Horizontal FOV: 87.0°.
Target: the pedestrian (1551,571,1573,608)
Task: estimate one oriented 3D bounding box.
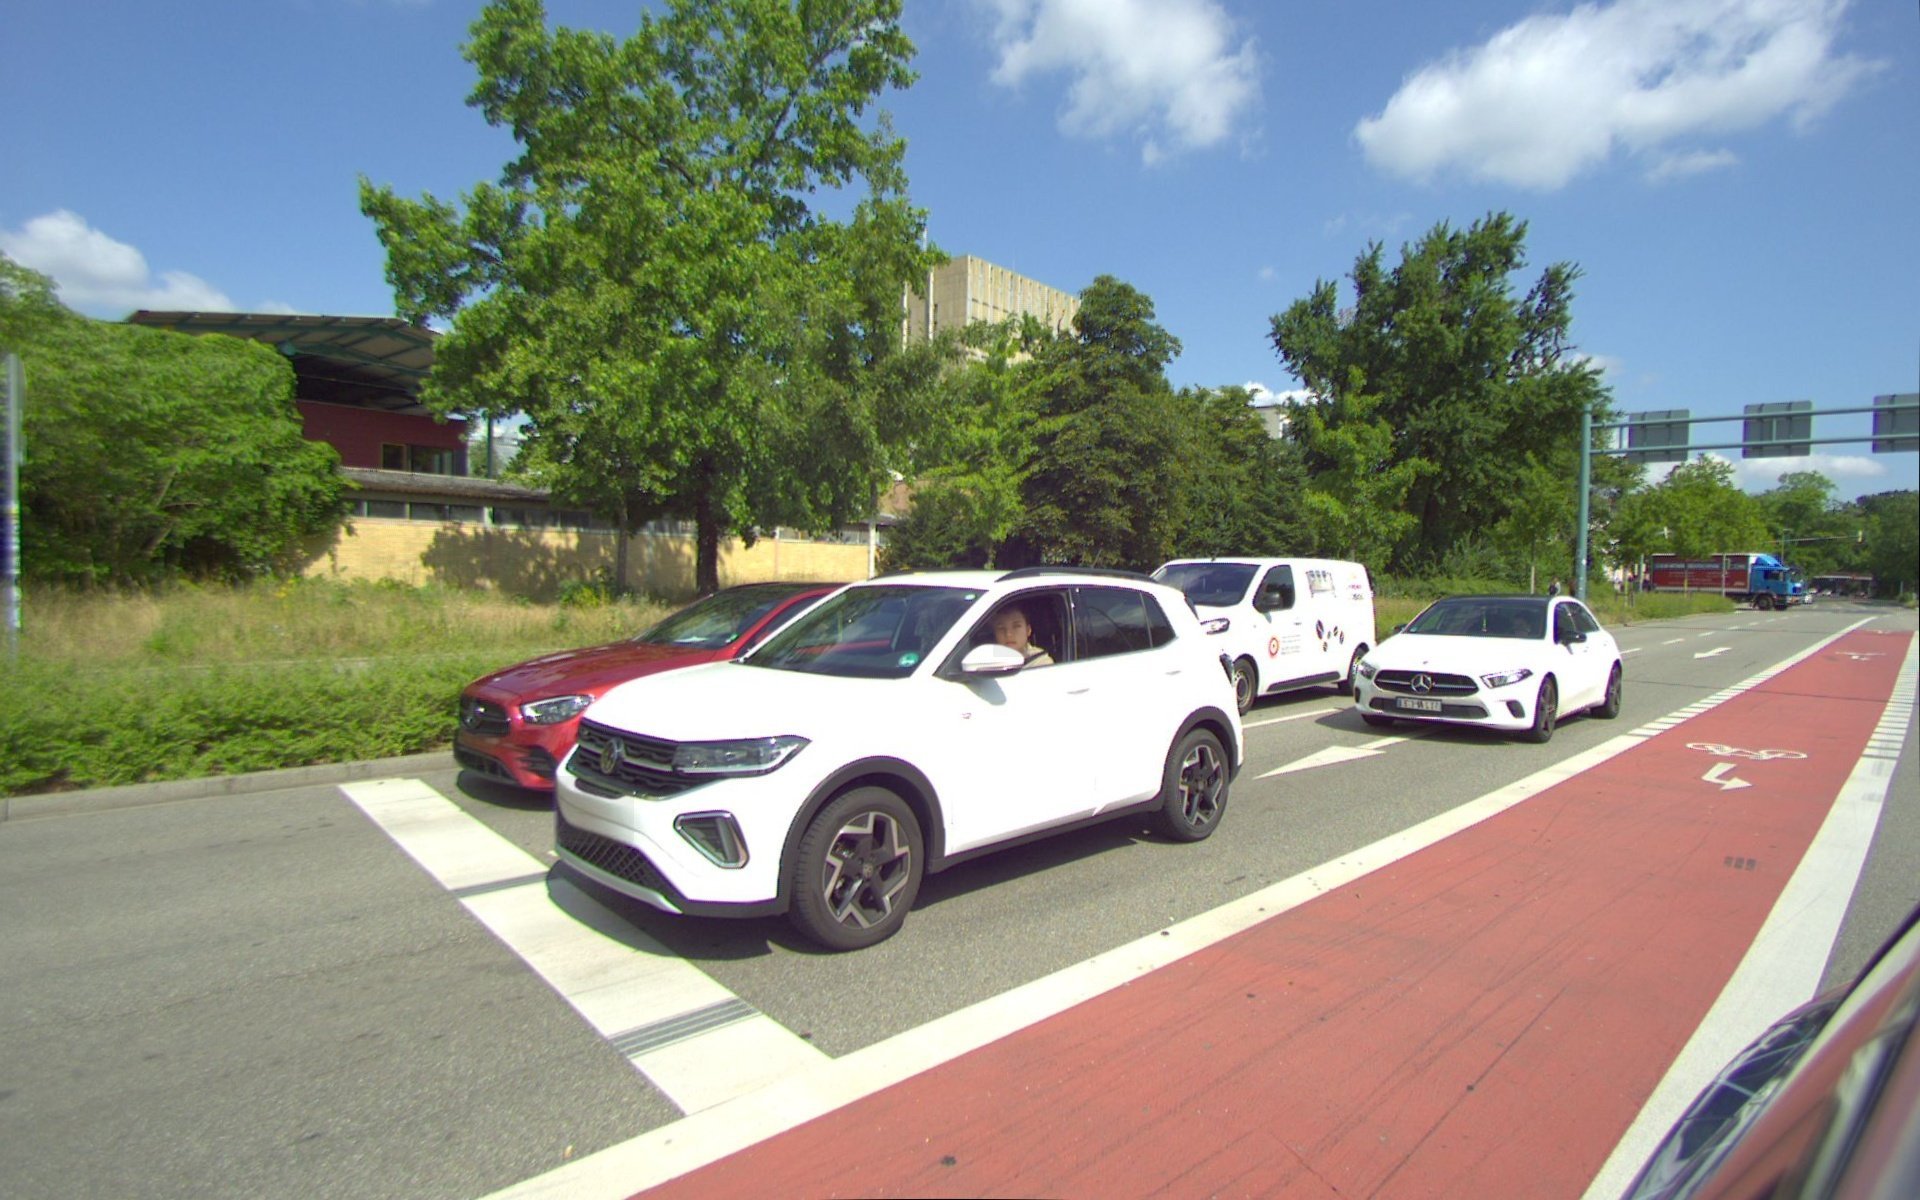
[{"bbox_3d":[26.248,-0.448,44.111,0.623,1.600,0.697,2,2,45],"label":"pedestrian"}]

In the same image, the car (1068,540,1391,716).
[{"bbox_3d":[3.685,0.249,13.279,4.746,1.893,1.944,0,2,-45],"label":"car"}]

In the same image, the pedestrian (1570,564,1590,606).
[{"bbox_3d":[26.752,-0.654,43.677,0.567,1.824,0.628,2,2,45],"label":"pedestrian"}]

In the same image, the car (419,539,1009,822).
[{"bbox_3d":[-1.693,0.429,8.114,1.682,1.661,4.391,2,2,45],"label":"car"}]

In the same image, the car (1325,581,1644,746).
[{"bbox_3d":[5.974,0.539,11.270,4.313,1.441,1.905,-1,2,-45],"label":"car"}]

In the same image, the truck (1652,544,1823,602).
[{"bbox_3d":[54.725,-1.956,71.586,2.613,3.846,9.201,0,2,-30],"label":"truck"}]

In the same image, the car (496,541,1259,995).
[{"bbox_3d":[-0.165,0.549,5.514,3.946,1.559,1.792,-1,1,-45],"label":"car"}]

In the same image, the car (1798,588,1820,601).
[{"bbox_3d":[96.236,-0.647,114.734,1.701,1.345,3.945,5,4,38],"label":"car"}]
